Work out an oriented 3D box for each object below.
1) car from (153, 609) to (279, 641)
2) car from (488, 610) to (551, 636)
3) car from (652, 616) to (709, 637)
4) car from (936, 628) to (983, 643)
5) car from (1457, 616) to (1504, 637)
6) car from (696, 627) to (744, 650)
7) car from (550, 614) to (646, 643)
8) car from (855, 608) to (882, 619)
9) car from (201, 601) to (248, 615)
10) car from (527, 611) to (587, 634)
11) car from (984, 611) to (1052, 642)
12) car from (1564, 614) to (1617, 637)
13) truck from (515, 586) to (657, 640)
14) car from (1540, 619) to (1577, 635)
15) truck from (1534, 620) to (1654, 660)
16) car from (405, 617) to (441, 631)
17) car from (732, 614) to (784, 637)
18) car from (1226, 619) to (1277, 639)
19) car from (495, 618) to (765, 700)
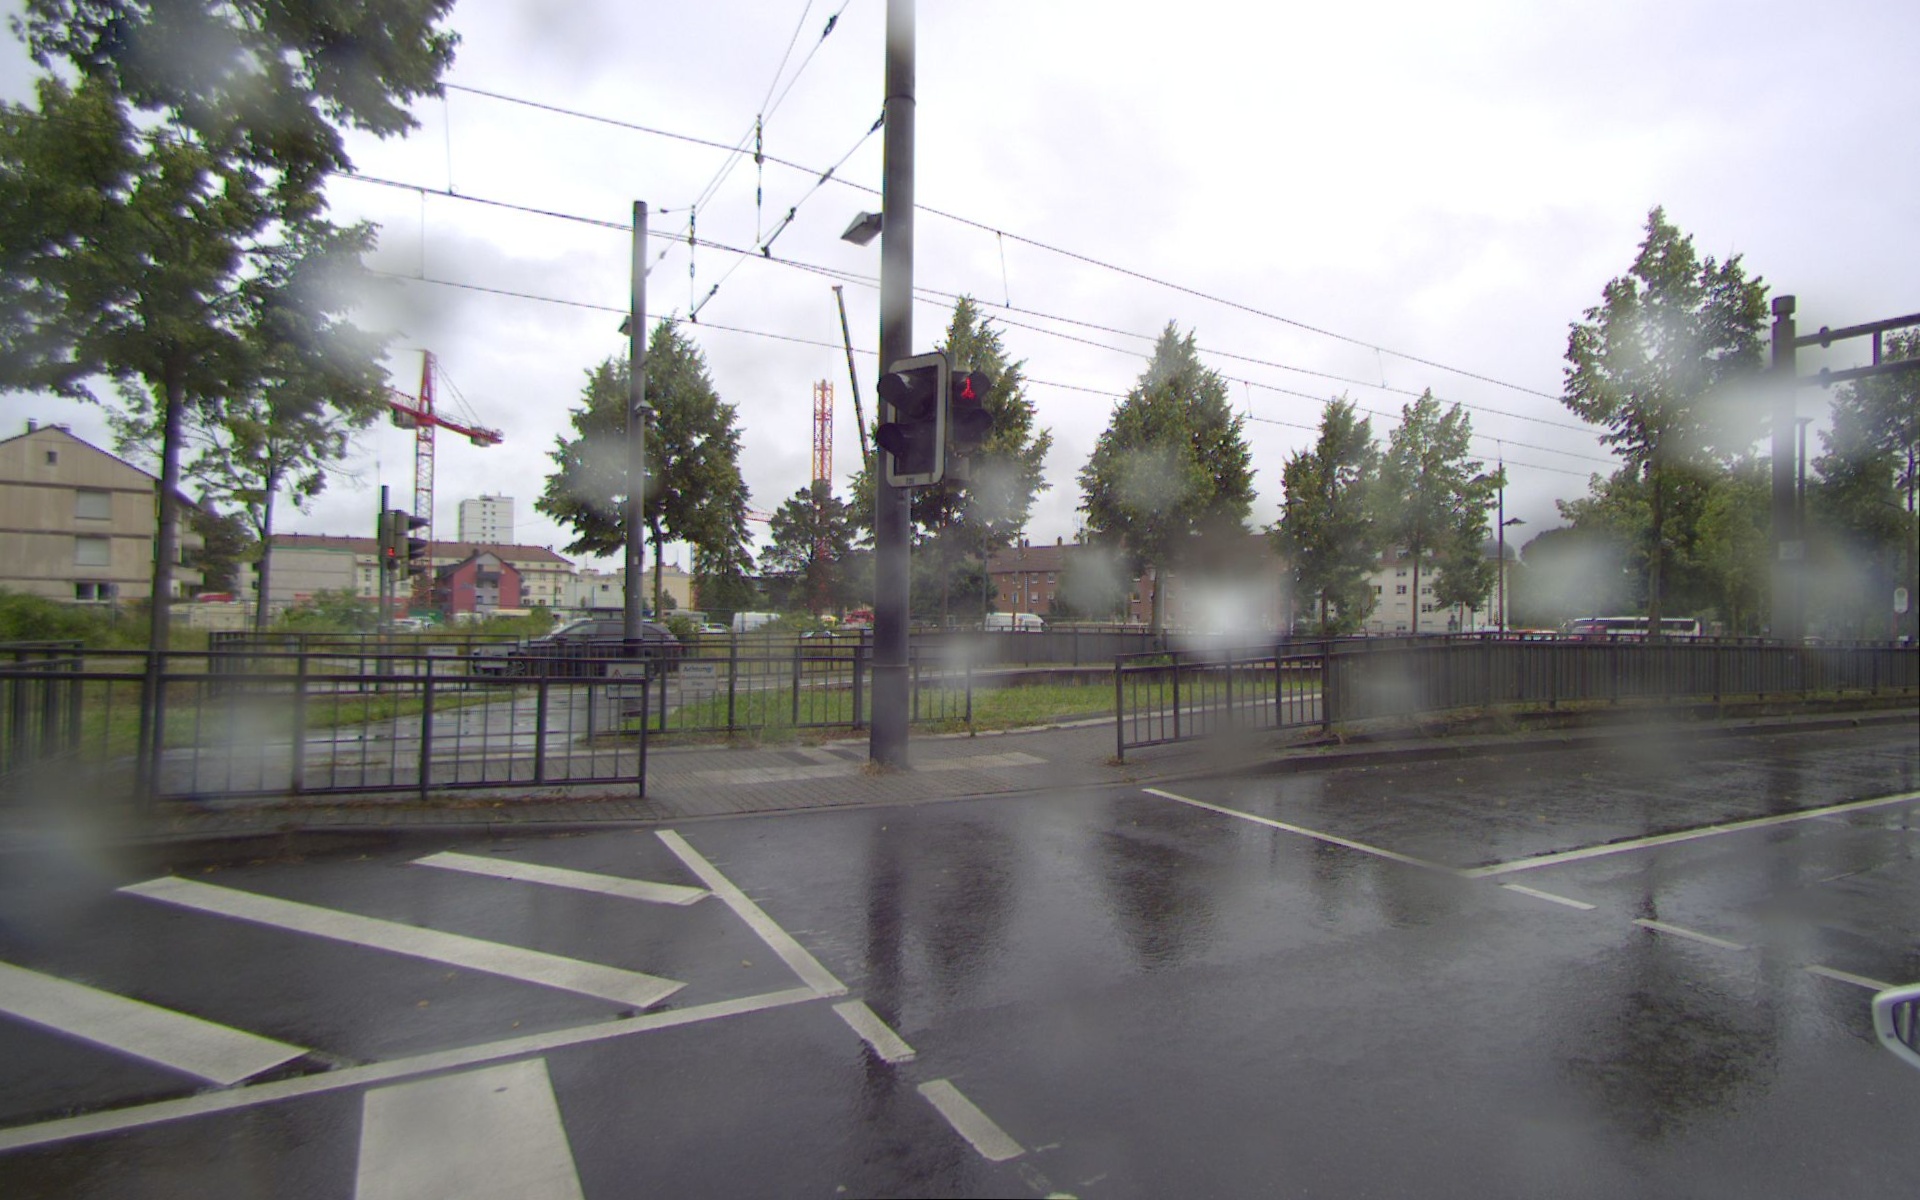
[{"bbox_3d":[-43.559,1.462,59.021,5.711,1.694,2.036,-1,0,-32],"label":"car"},{"bbox_3d":[-32.804,1.704,74.834,3.967,1.840,1.809,-1,0,-40],"label":"car"},{"bbox_3d":[-29.594,2.755,106.307,5.459,2.040,1.981,-1,0,-34],"label":"car"},{"bbox_3d":[-0.034,3.062,86.551,3.767,1.171,1.732,-1,0,-30],"label":"car"},{"bbox_3d":[55.248,2.798,106.673,4.144,2.040,1.994,2,-1,-14],"label":"car"},{"bbox_3d":[-22.552,3.597,94.270,3.952,2.040,1.984,-1,0,-30],"label":"car"},{"bbox_3d":[-24.907,1.935,69.217,5.936,1.840,2.074,-1,0,-31],"label":"car"},{"bbox_3d":[-13.790,2.044,151.397,3.767,1.540,1.732,-1,0,-30],"label":"car"},{"bbox_3d":[-66.882,0.713,91.349,1.461,1.228,3.250,-1,0,42],"label":"car"},{"bbox_3d":[-28.900,1.602,72.074,3.767,1.540,1.732,-1,0,-30],"label":"car"},{"bbox_3d":[4.753,2.109,82.240,5.434,2.357,1.829,-1,0,-30],"label":"car"},{"bbox_3d":[58.403,2.359,93.066,3.932,2.040,1.994,2,-1,-14],"label":"car"},{"bbox_3d":[-40.662,1.344,109.824,6.109,5.468,13.248,-1,0,40],"label":"truck"},{"bbox_3d":[67.567,3.087,113.402,3.487,1.762,1.699,-1,0,37],"label":"car"},{"bbox_3d":[77.719,4.823,123.324,12.285,4.654,3.391,-1,0,35],"label":"truck"},{"bbox_3d":[-65.796,2.917,123.037,3.767,1.540,1.732,-1,0,-30],"label":"car"},{"bbox_3d":[-17.254,2.199,85.853,3.967,1.840,1.809,-1,0,-40],"label":"car"},{"bbox_3d":[32.113,3.198,110.730,5.294,2.040,2.082,-1,0,-23],"label":"car"},{"bbox_3d":[-7.310,1.277,22.485,5.440,1.629,1.940,2,-2,-32],"label":"car"}]
